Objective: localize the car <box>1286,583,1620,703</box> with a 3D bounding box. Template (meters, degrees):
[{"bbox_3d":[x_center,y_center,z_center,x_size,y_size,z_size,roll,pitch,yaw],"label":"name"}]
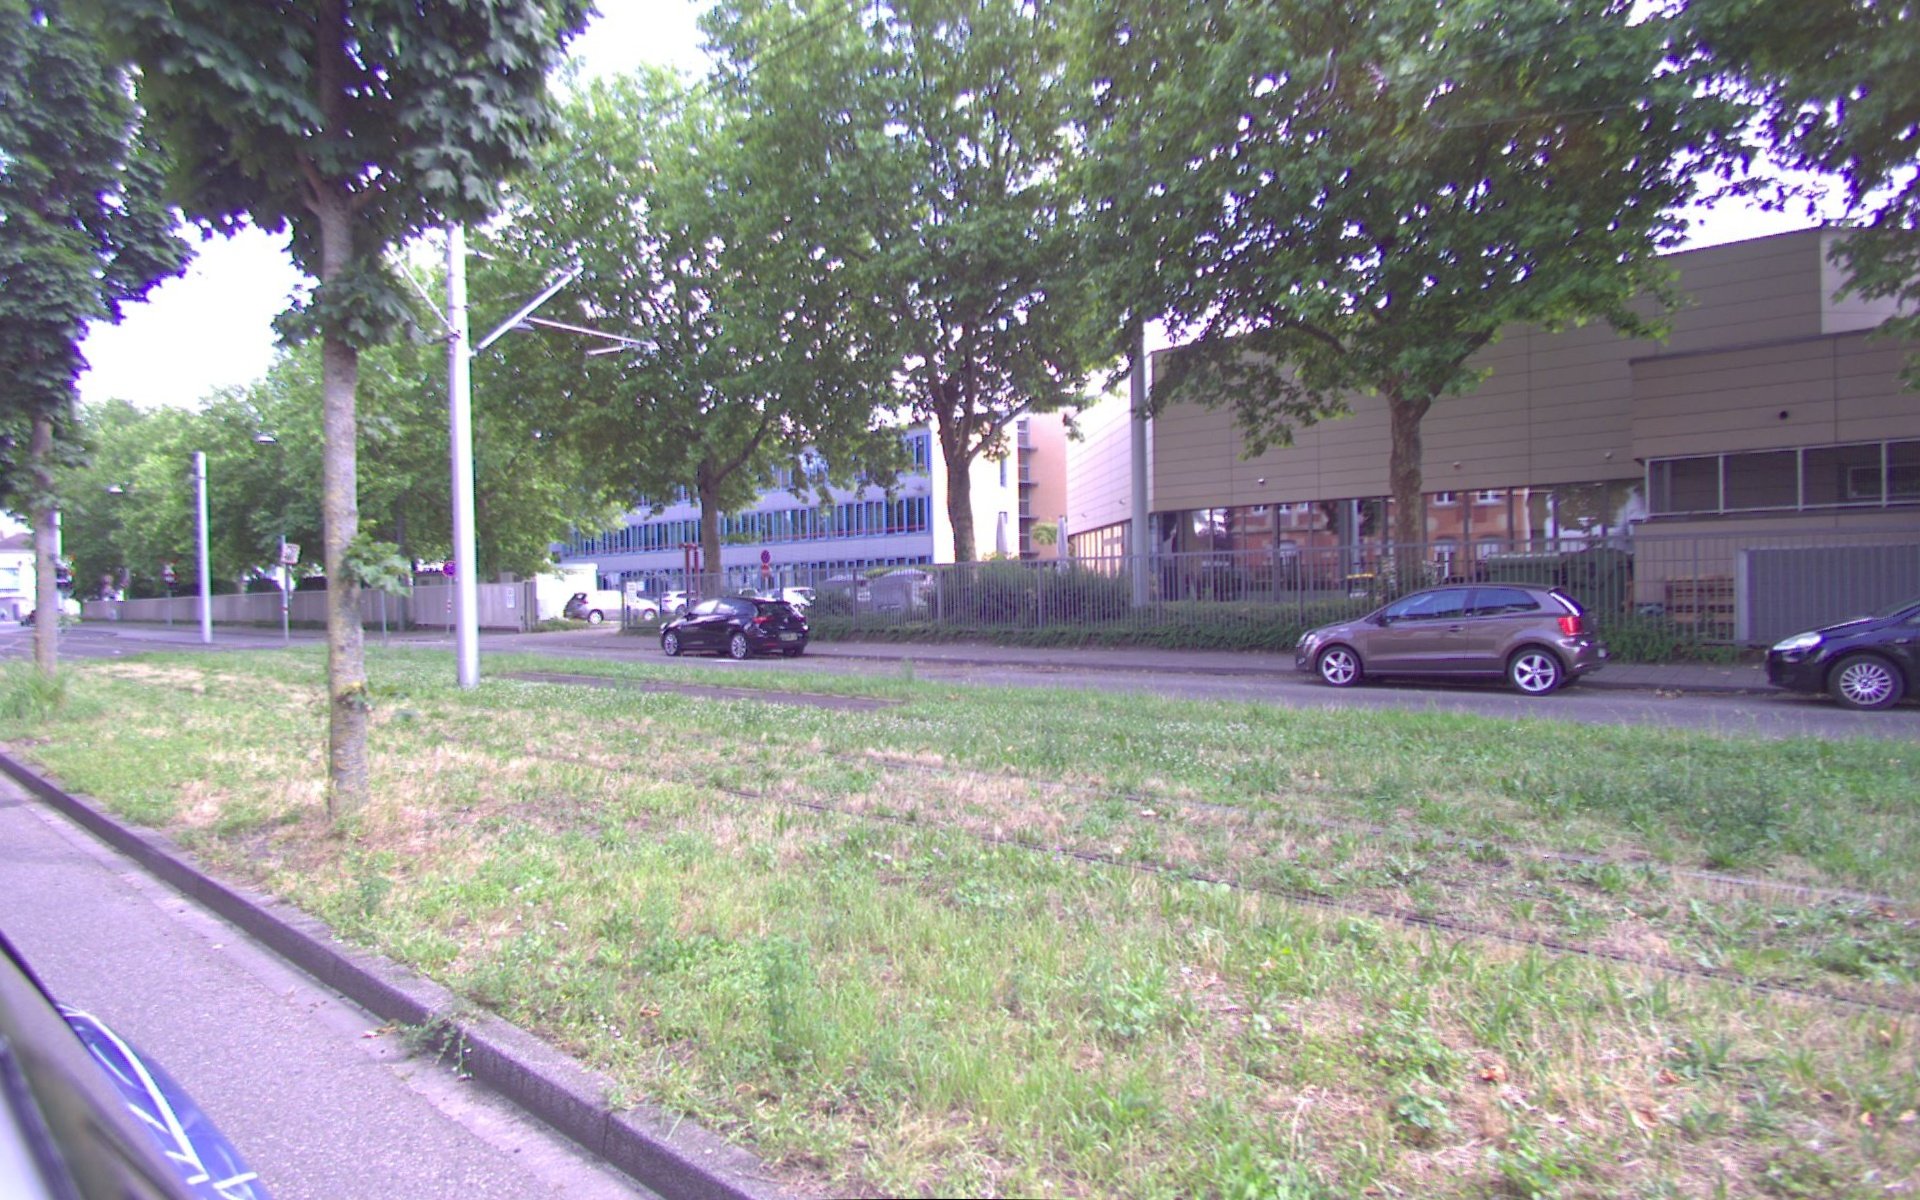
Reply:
[{"bbox_3d":[6.713,0.527,14.011,3.899,1.436,1.538,-1,0,40],"label":"car"}]

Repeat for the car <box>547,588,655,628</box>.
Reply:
[{"bbox_3d":[-15.393,0.319,43.570,1.998,1.630,3.948,-1,0,38],"label":"car"}]

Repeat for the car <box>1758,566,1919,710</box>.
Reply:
[{"bbox_3d":[10.862,0.360,10.434,4.000,1.464,1.783,-1,0,43],"label":"car"}]

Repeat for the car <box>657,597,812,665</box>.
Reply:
[{"bbox_3d":[-5.437,0.697,24.120,3.999,1.475,1.580,-1,0,42],"label":"car"}]

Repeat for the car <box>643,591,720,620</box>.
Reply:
[{"bbox_3d":[-16.256,0.321,59.191,1.998,1.630,3.948,-1,0,38],"label":"car"}]

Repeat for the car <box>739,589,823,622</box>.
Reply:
[{"bbox_3d":[-9.190,0.243,52.077,1.998,1.630,3.948,-1,0,38],"label":"car"}]
